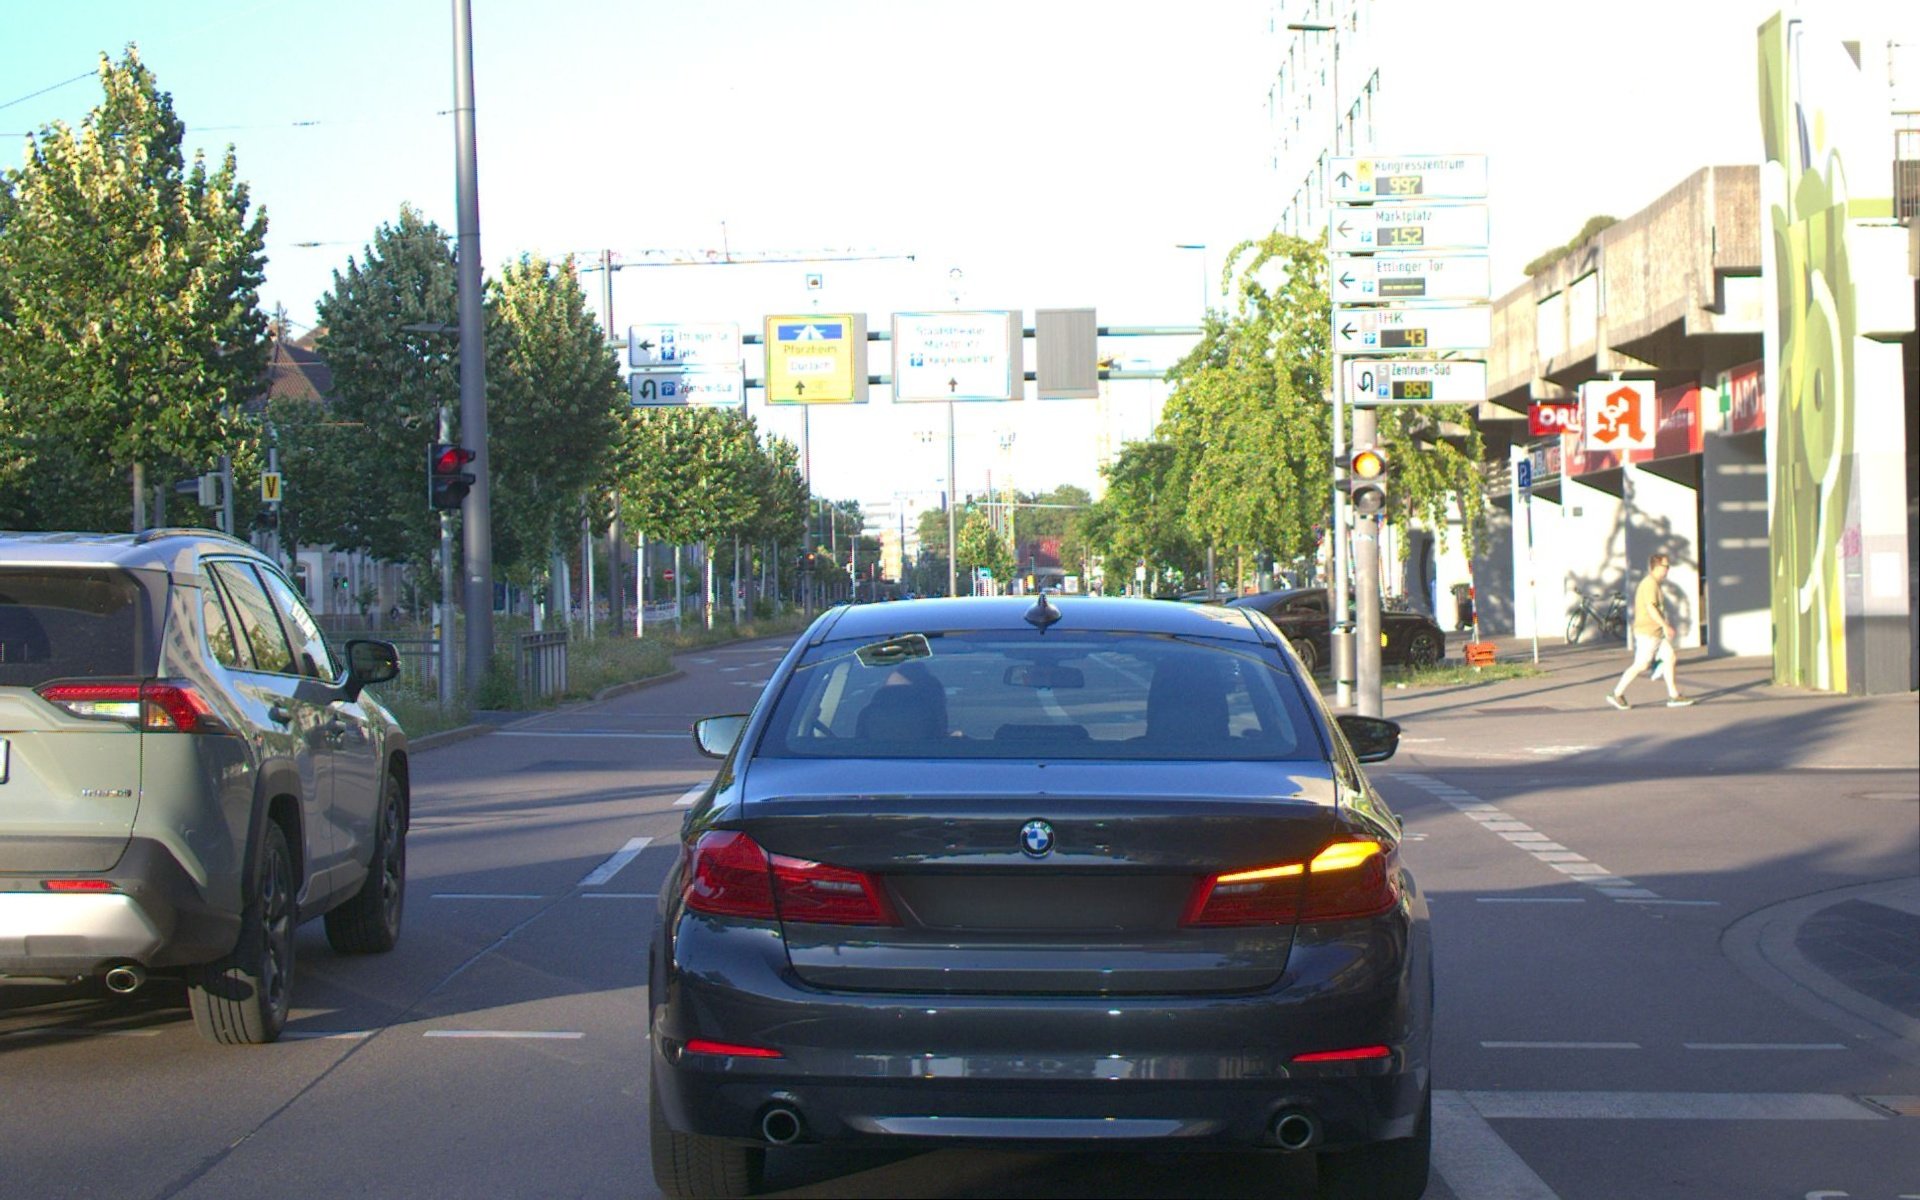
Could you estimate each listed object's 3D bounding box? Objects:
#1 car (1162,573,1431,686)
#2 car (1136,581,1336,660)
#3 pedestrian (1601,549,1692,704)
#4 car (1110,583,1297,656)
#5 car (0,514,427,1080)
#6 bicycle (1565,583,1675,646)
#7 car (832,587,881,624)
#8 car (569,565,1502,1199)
[{"bbox_3d":[5.330,0.430,54.109,4.256,1.653,1.860,-1,2,-43],"label":"car"},{"bbox_3d":[6.162,0.443,76.544,4.255,1.653,1.860,-1,2,-36],"label":"car"},{"bbox_3d":[7.691,0.295,38.542,0.835,1.706,0.648,-1,0,-2],"label":"pedestrian"},{"bbox_3d":[5.872,0.450,82.672,4.255,1.653,1.860,-1,2,-35],"label":"car"},{"bbox_3d":[-3.123,0.525,12.177,1.854,1.653,4.269,0,1,-1],"label":"car"},{"bbox_3d":[12.773,0.279,66.572,2.017,1.145,0.690,2,-1,6],"label":"bicycle"},{"bbox_3d":[-4.323,0.220,144.274,1.979,1.428,4.843,0,1,-1],"label":"car"},{"bbox_3d":[0.162,0.676,9.411,1.932,1.476,4.522,0,1,0],"label":"car"}]
